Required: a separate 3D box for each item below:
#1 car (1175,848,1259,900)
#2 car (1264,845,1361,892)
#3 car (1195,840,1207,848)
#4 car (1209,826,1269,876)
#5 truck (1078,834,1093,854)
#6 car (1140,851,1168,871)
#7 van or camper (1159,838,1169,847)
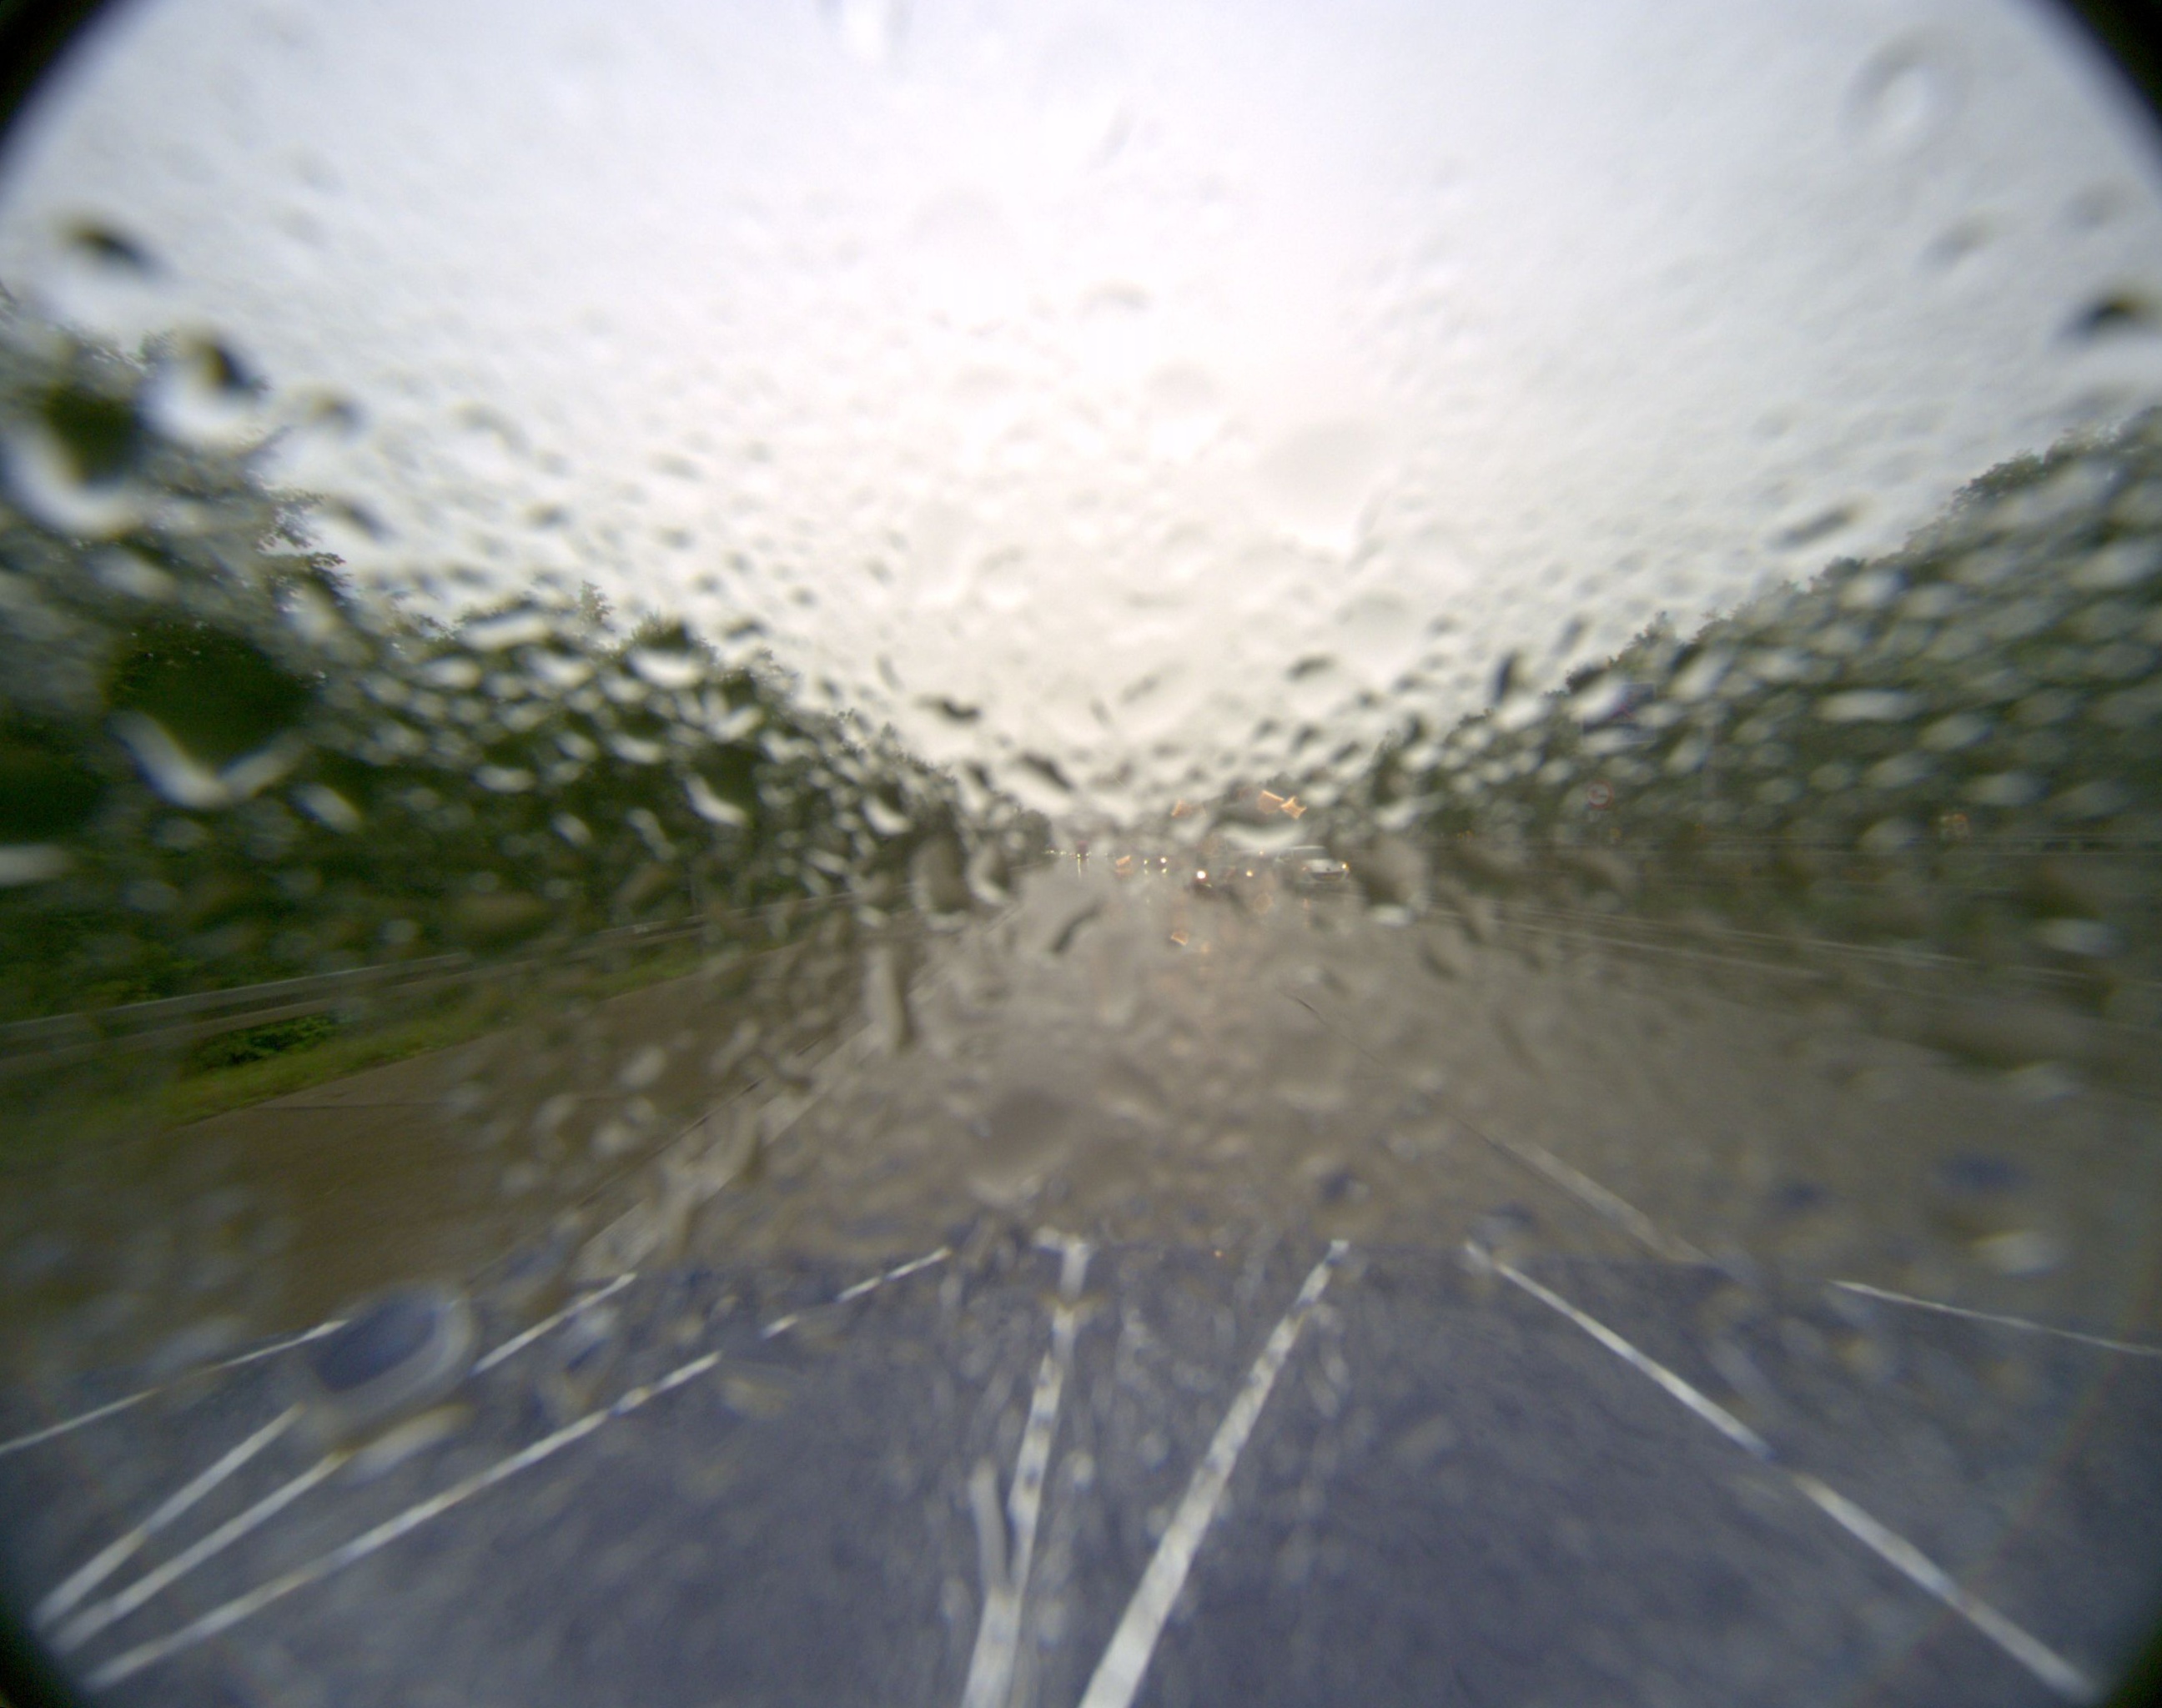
[{"bbox_3d":[4.308,0.584,24.728,1.934,1.426,4.517,-2,1,1],"label":"car"},{"bbox_3d":[7.927,0.434,26.489,1.934,1.426,4.517,-2,1,0],"label":"car"},{"bbox_3d":[26.954,-2.210,170.377,1.998,1.608,4.000,-2,0,1],"label":"car"},{"bbox_3d":[8.942,-0.194,43.595,2.046,2.616,6.402,-2,1,0],"label":"car"},{"bbox_3d":[0.994,-2.184,175.244,3.058,3.994,10.044,-3,-2,1],"label":"truck"},{"bbox_3d":[5.969,0.545,62.572,1.934,1.426,4.517,-2,1,1],"label":"car"},{"bbox_3d":[27.004,-3.807,247.029,2.562,2.702,7.498,-4,1,1],"label":"van or camper"}]
